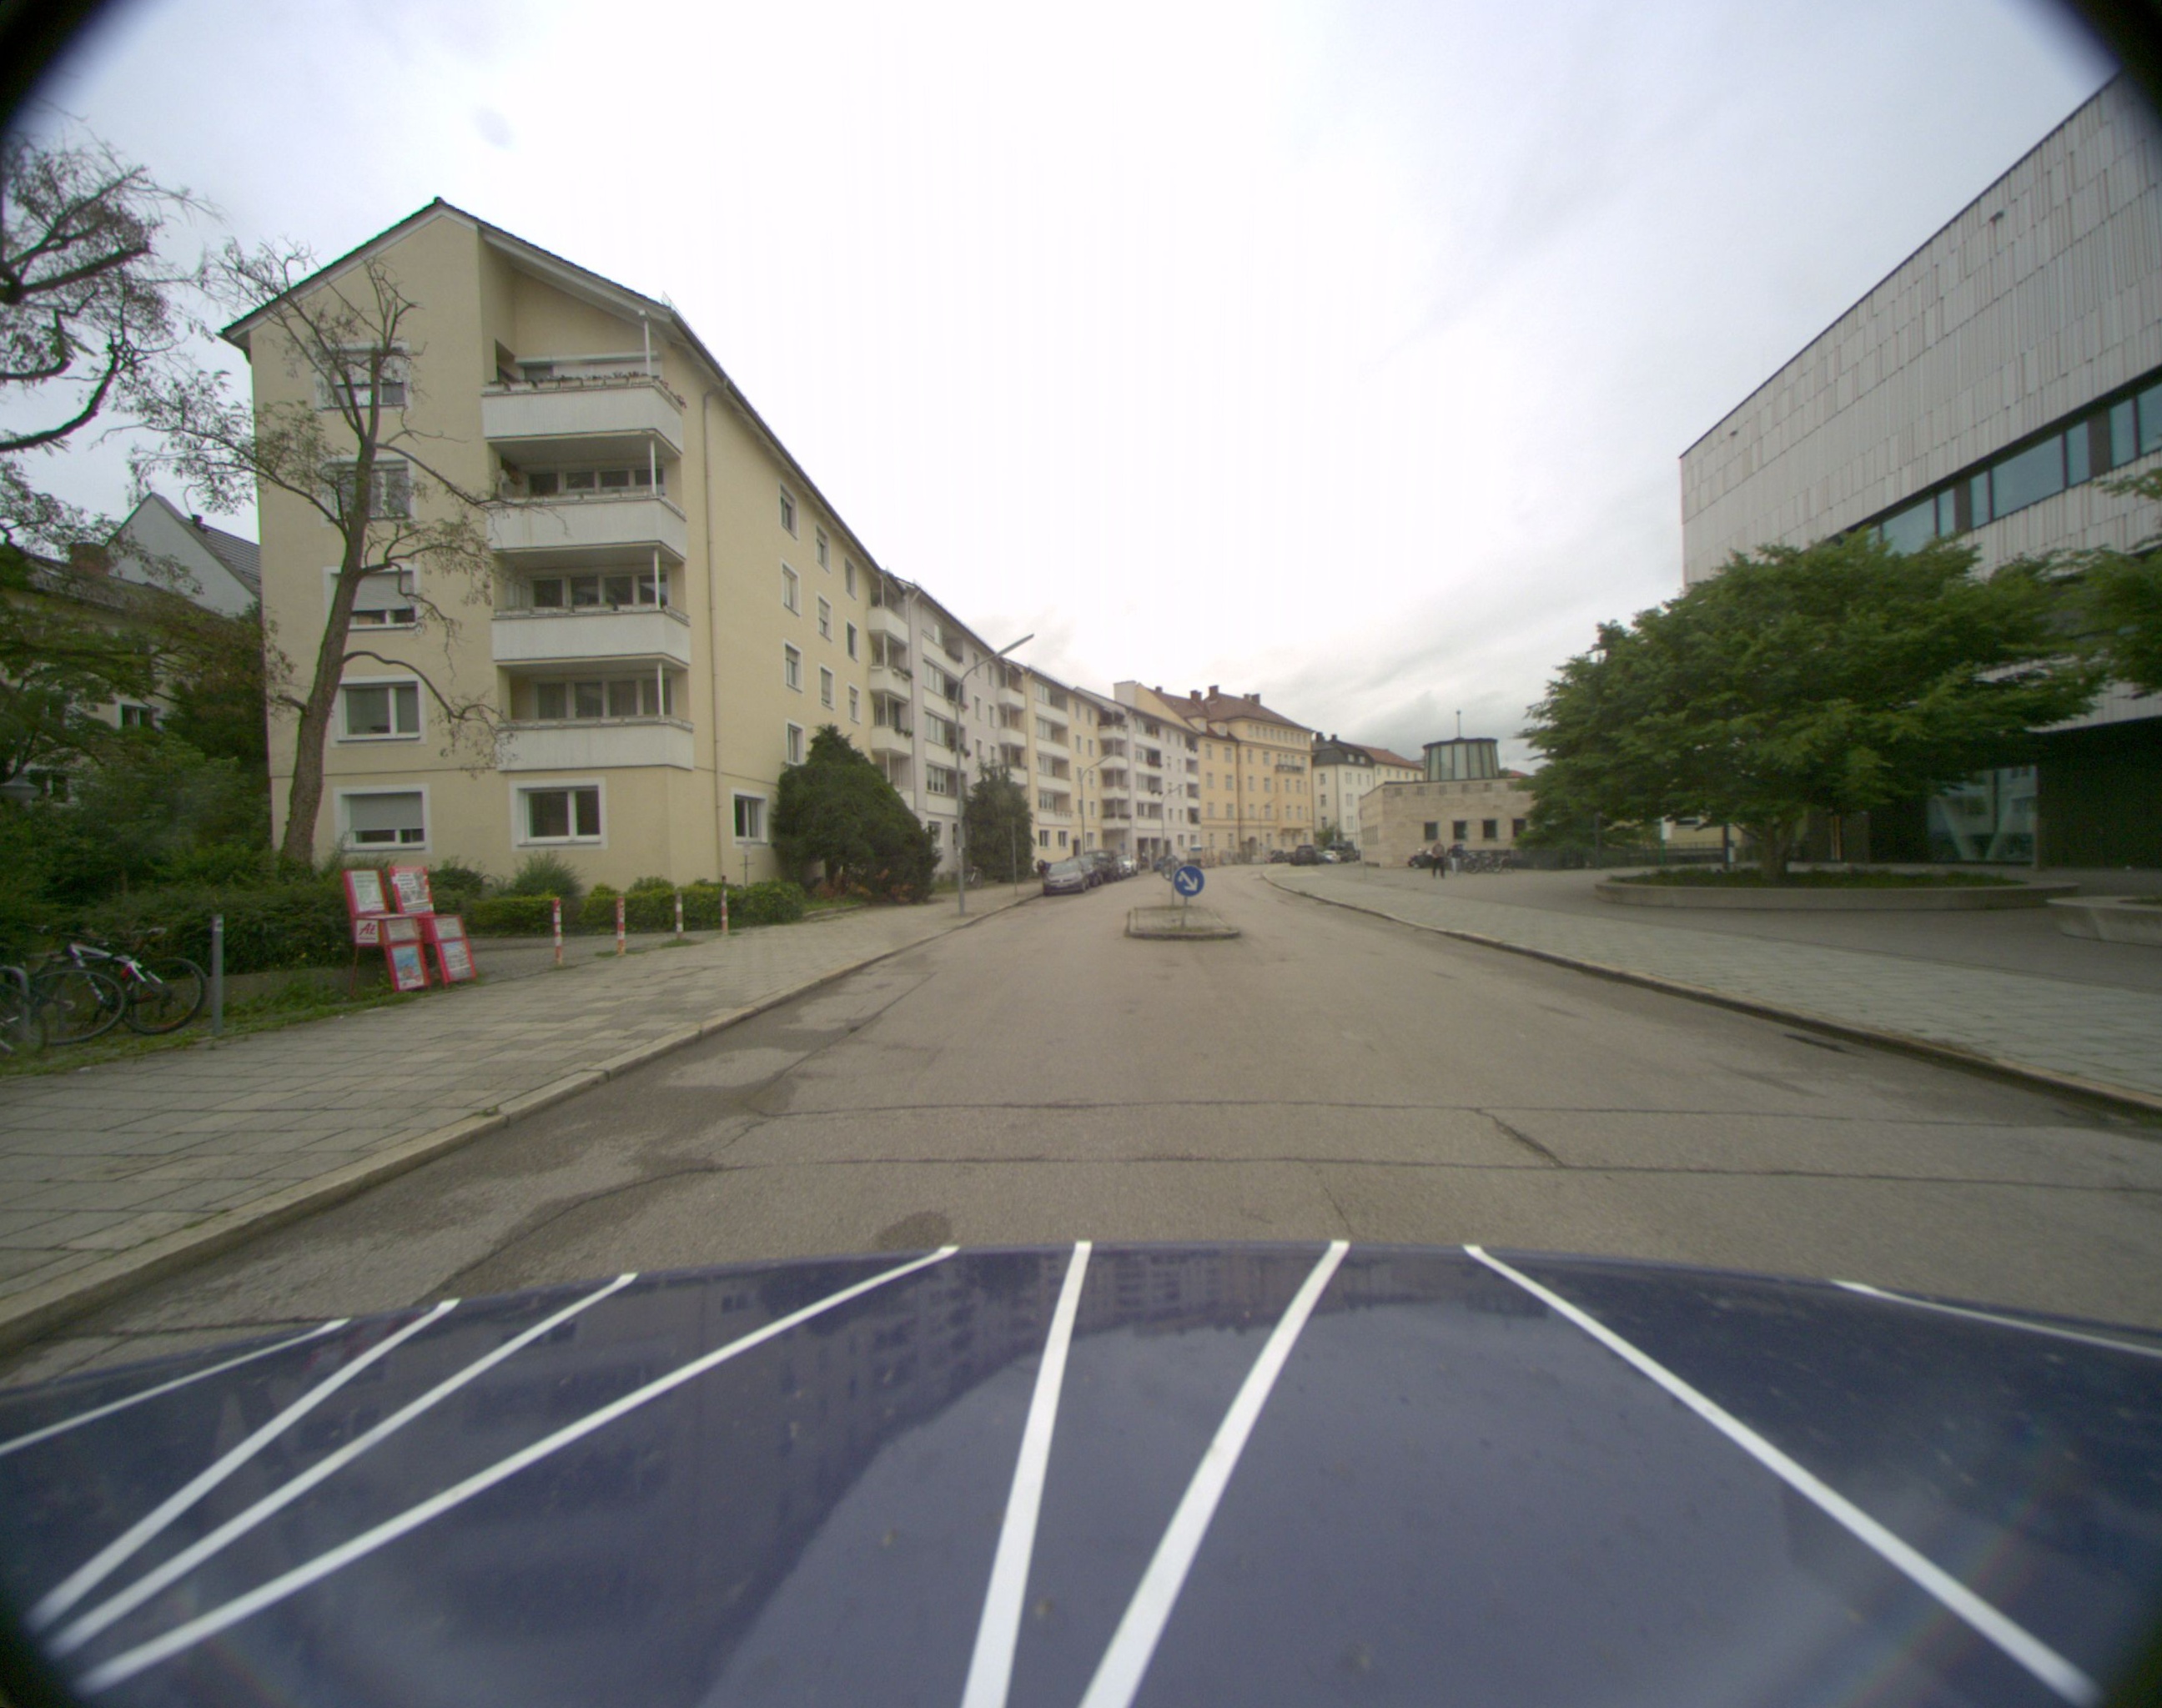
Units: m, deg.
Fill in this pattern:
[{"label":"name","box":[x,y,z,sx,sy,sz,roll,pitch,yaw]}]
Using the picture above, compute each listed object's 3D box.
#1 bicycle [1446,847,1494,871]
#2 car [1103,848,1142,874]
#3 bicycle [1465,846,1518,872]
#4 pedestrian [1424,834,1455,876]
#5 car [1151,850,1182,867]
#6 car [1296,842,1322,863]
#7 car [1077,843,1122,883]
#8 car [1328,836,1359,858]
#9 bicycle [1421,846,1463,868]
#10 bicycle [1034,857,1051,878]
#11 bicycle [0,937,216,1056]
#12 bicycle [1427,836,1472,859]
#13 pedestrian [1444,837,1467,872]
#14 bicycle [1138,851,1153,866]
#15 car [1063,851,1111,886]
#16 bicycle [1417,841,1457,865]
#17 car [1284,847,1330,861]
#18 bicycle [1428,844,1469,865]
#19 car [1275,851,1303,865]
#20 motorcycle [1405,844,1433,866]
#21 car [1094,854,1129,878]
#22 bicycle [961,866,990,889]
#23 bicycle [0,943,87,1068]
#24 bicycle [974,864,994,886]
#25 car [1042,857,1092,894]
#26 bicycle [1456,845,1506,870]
[{"label":"bicycle","box":[20.158,0.243,39.410,2.049,1.104,0.617,-4,-1,7]},{"label":"car","box":[2.989,0.490,53.766,2.030,1.668,4.617,-4,-1,10]},{"label":"bicycle","box":[19.634,0.240,36.366,2.049,1.104,0.617,-4,-1,7]},{"label":"pedestrian","box":[16.040,0.044,34.016,0.788,1.772,1.014,-4,1,-1]},{"label":"car","box":[7.727,0.382,68.341,1.832,1.433,4.635,0,0,20]},{"label":"car","box":[20.200,-0.135,67.215,1.996,1.761,4.821,-2,-1,19]},{"label":"car","box":[1.114,0.534,43.887,1.750,2.069,4.520,-4,-1,11]},{"label":"car","box":[31.037,-0.833,89.599,2.145,2.559,6.223,0,1,31]},{"label":"bicycle","box":[20.783,0.175,43.747,2.048,1.104,0.617,-4,-1,14]},{"label":"bicycle","box":[-2.650,0.896,52.575,0.744,1.359,2.472,1,1,6]},{"label":"bicycle","box":[-9.285,1.334,7.168,1.704,0.960,0.546,-4,-1,5]},{"label":"bicycle","box":[19.727,-0.355,40.670,2.050,1.104,0.617,-4,-1,3]},{"label":"pedestrian","box":[17.594,0.045,35.723,0.645,1.591,0.605,-3,-1,-15]},{"label":"bicycle","box":[5.999,0.436,70.637,0.810,1.315,2.778,0,1,18]},{"label":"car","box":[0.375,0.699,39.197,1.661,1.556,4.518,-4,0,10]},{"label":"bicycle","box":[22.052,-0.072,47.106,2.101,1.343,0.614,-4,-1,10]},{"label":"car","box":[22.614,-0.015,76.098,4.007,1.365,1.748,0,2,-8]},{"label":"bicycle","box":[21.834,0.024,45.121,2.049,1.104,0.617,-4,-1,11]},{"label":"car","box":[27.526,0.514,100.588,1.838,1.719,3.737,-4,-1,45]},{"label":"motorcycle","box":[22.829,0.072,51.366,1.566,1.397,0.515,-4,-1,12]},{"label":"car","box":[1.979,0.752,48.631,1.661,1.341,3.806,-4,0,9]},{"label":"bicycle","box":[-5.208,1.146,37.545,0.467,1.111,1.947,-1,0,22]},{"label":"bicycle","box":[-9.572,1.308,6.432,1.704,0.960,0.546,-4,-1,5]},{"label":"bicycle","box":[-5.075,1.090,39.921,0.468,1.111,1.945,-1,0,11]},{"label":"car","box":[-0.555,0.927,34.103,1.758,1.388,4.045,-4,1,5]},{"label":"bicycle","box":[19.836,0.196,37.736,2.049,1.104,0.617,-4,-1,7]}]
